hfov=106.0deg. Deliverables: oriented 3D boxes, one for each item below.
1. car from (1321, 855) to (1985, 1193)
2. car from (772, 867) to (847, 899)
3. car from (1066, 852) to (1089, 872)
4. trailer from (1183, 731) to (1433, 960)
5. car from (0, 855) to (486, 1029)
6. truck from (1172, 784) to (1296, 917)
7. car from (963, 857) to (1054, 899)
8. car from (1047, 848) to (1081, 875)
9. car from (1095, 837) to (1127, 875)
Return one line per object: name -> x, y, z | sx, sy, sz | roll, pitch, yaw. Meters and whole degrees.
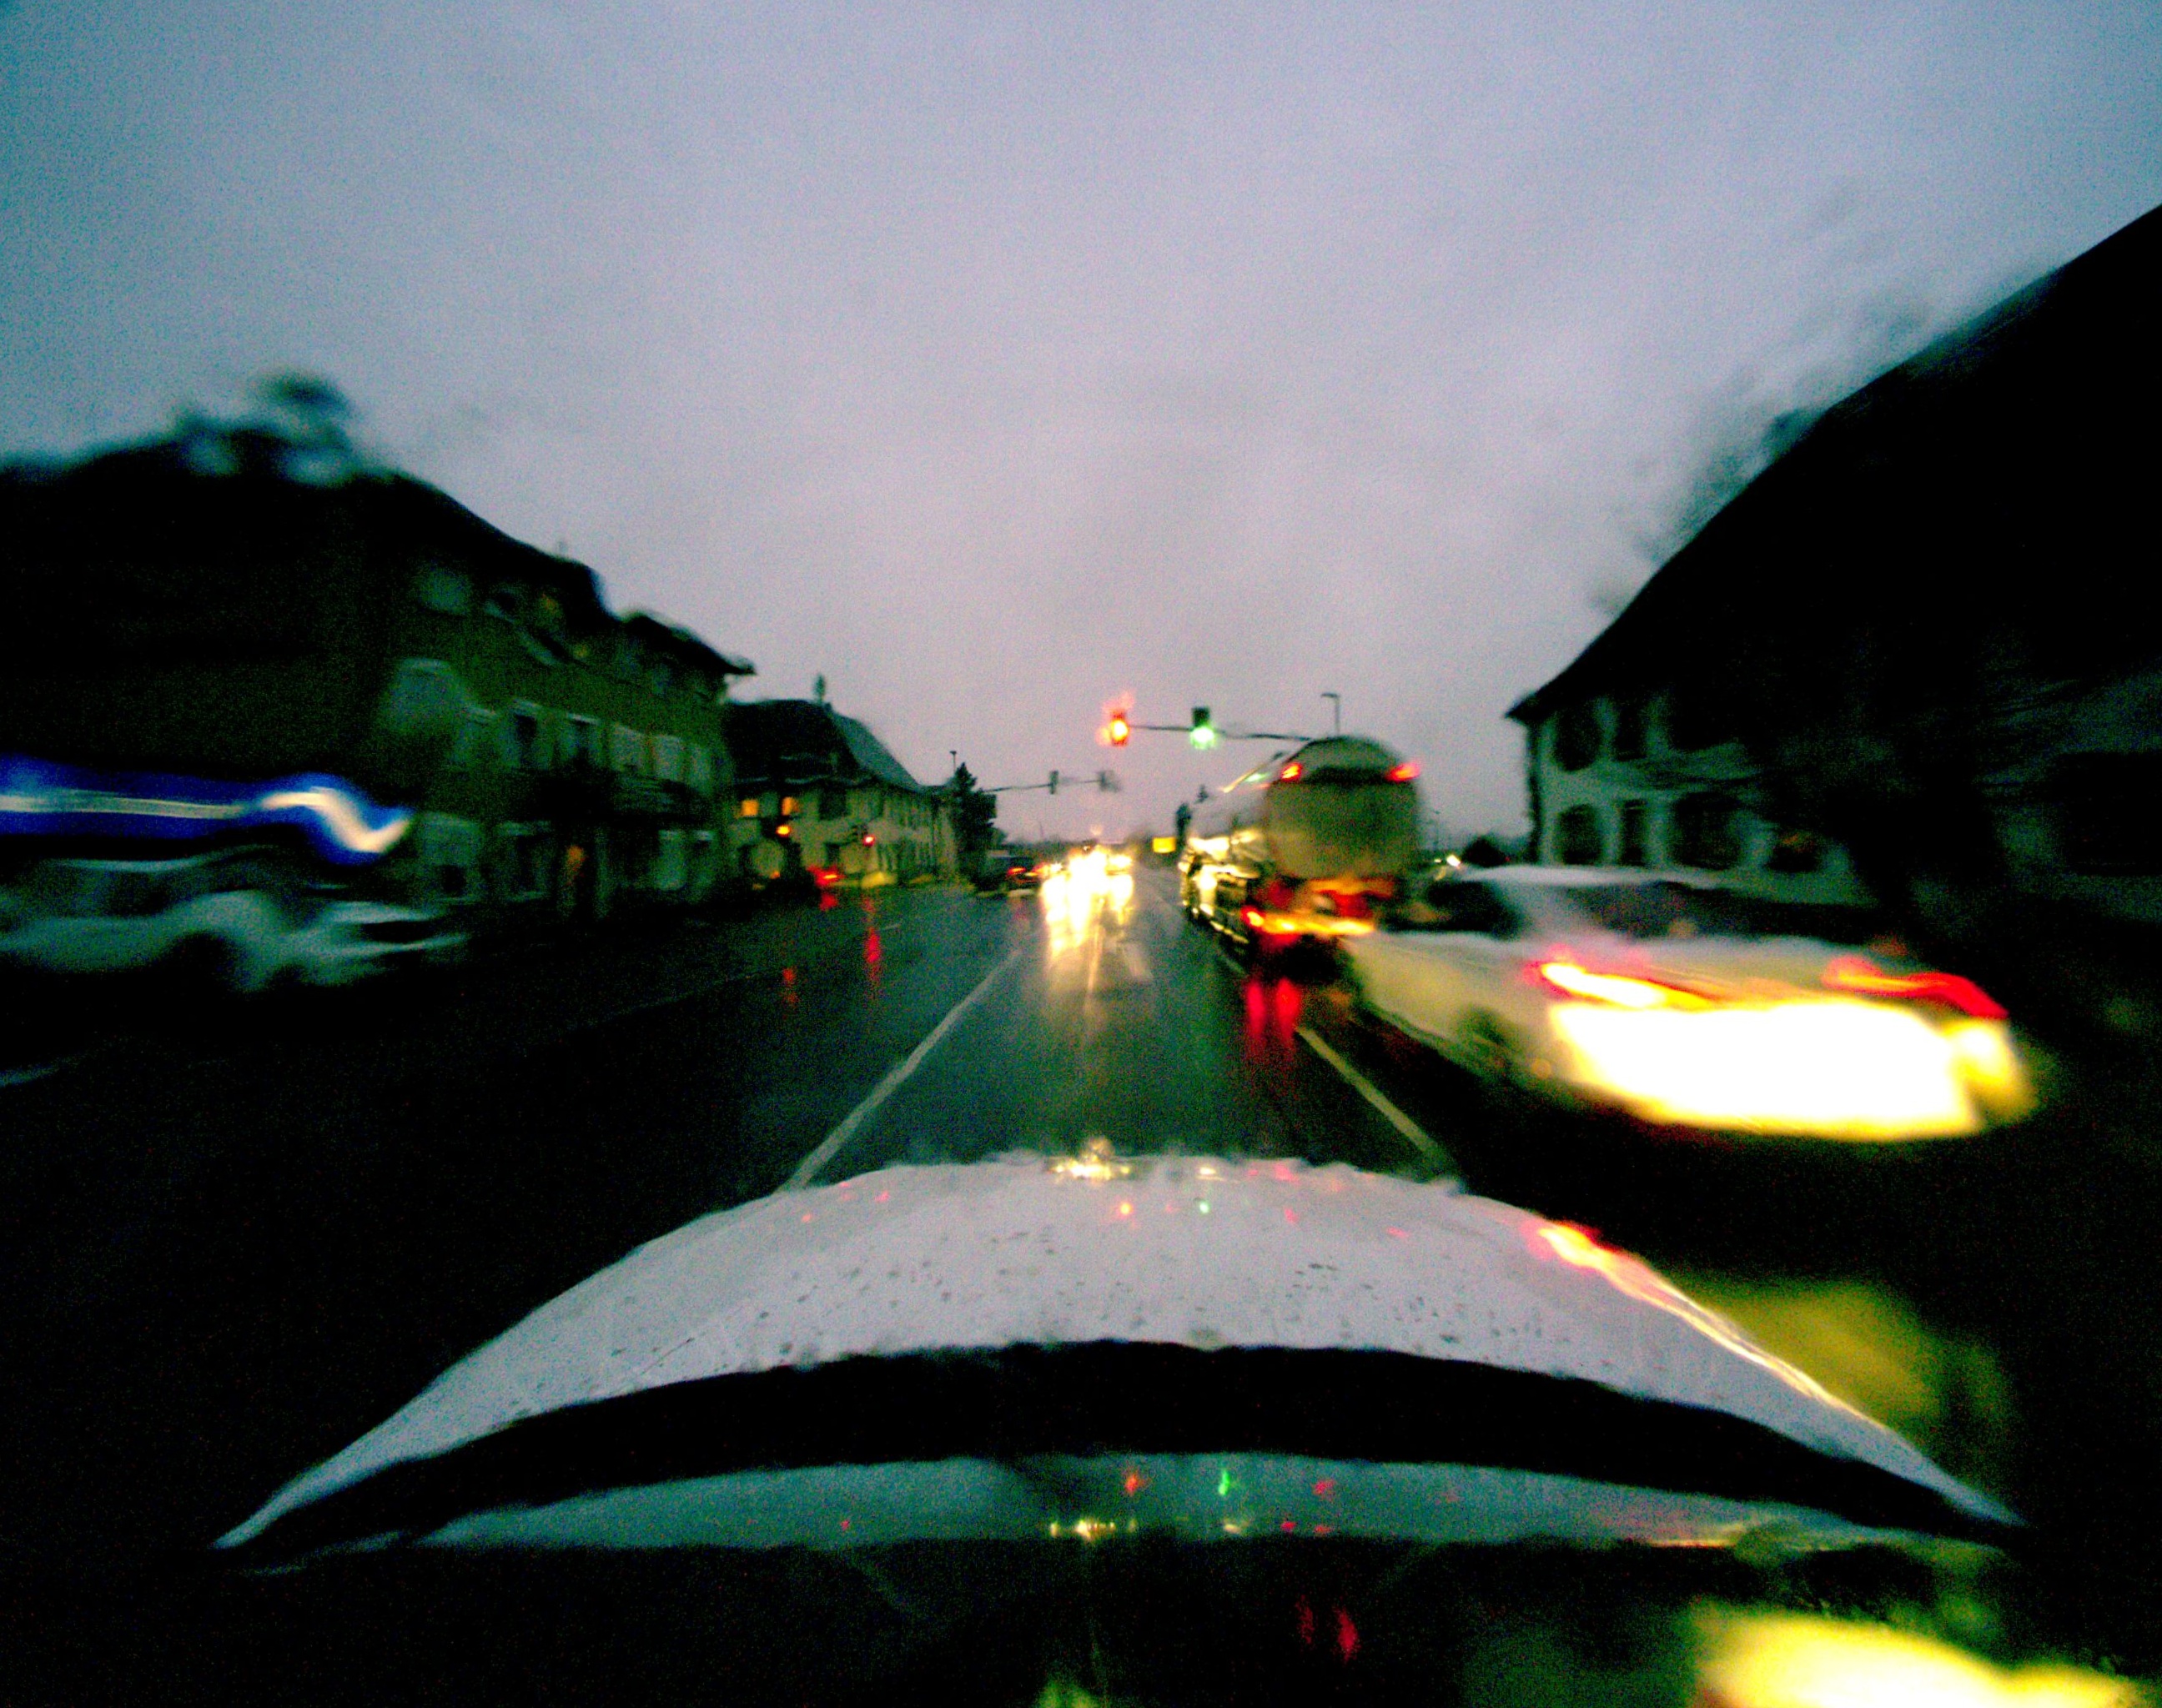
car -> 3.088, 0.731, 5.678 | 1.656, 1.439, 4.383 | 0, 0, 2
car -> -13.473, 1.442, 40.493 | 3.210, 1.508, 1.547 | 0, 0, -4
car -> -0.329, 0.718, 74.634 | 1.713, 1.723, 3.933 | -2, -1, 5
trailer -> 3.913, -0.120, 17.046 | 2.478, 3.240, 10.872 | -1, 0, 2
car -> -10.400, 0.963, 9.716 | 5.167, 1.791, 2.002 | -1, 0, 3
truck -> 4.101, -0.091, 23.103 | 2.453, 3.230, 6.275 | -1, 0, 1
car -> -3.178, 1.005, 34.822 | 2.060, 1.573, 4.657 | -2, 0, -30
car -> -1.187, 0.516, 58.733 | 1.984, 1.746, 4.006 | -3, 0, 5
car -> 2.358, 0.133, 65.599 | 2.392, 2.892, 6.252 | 1, 0, 1
